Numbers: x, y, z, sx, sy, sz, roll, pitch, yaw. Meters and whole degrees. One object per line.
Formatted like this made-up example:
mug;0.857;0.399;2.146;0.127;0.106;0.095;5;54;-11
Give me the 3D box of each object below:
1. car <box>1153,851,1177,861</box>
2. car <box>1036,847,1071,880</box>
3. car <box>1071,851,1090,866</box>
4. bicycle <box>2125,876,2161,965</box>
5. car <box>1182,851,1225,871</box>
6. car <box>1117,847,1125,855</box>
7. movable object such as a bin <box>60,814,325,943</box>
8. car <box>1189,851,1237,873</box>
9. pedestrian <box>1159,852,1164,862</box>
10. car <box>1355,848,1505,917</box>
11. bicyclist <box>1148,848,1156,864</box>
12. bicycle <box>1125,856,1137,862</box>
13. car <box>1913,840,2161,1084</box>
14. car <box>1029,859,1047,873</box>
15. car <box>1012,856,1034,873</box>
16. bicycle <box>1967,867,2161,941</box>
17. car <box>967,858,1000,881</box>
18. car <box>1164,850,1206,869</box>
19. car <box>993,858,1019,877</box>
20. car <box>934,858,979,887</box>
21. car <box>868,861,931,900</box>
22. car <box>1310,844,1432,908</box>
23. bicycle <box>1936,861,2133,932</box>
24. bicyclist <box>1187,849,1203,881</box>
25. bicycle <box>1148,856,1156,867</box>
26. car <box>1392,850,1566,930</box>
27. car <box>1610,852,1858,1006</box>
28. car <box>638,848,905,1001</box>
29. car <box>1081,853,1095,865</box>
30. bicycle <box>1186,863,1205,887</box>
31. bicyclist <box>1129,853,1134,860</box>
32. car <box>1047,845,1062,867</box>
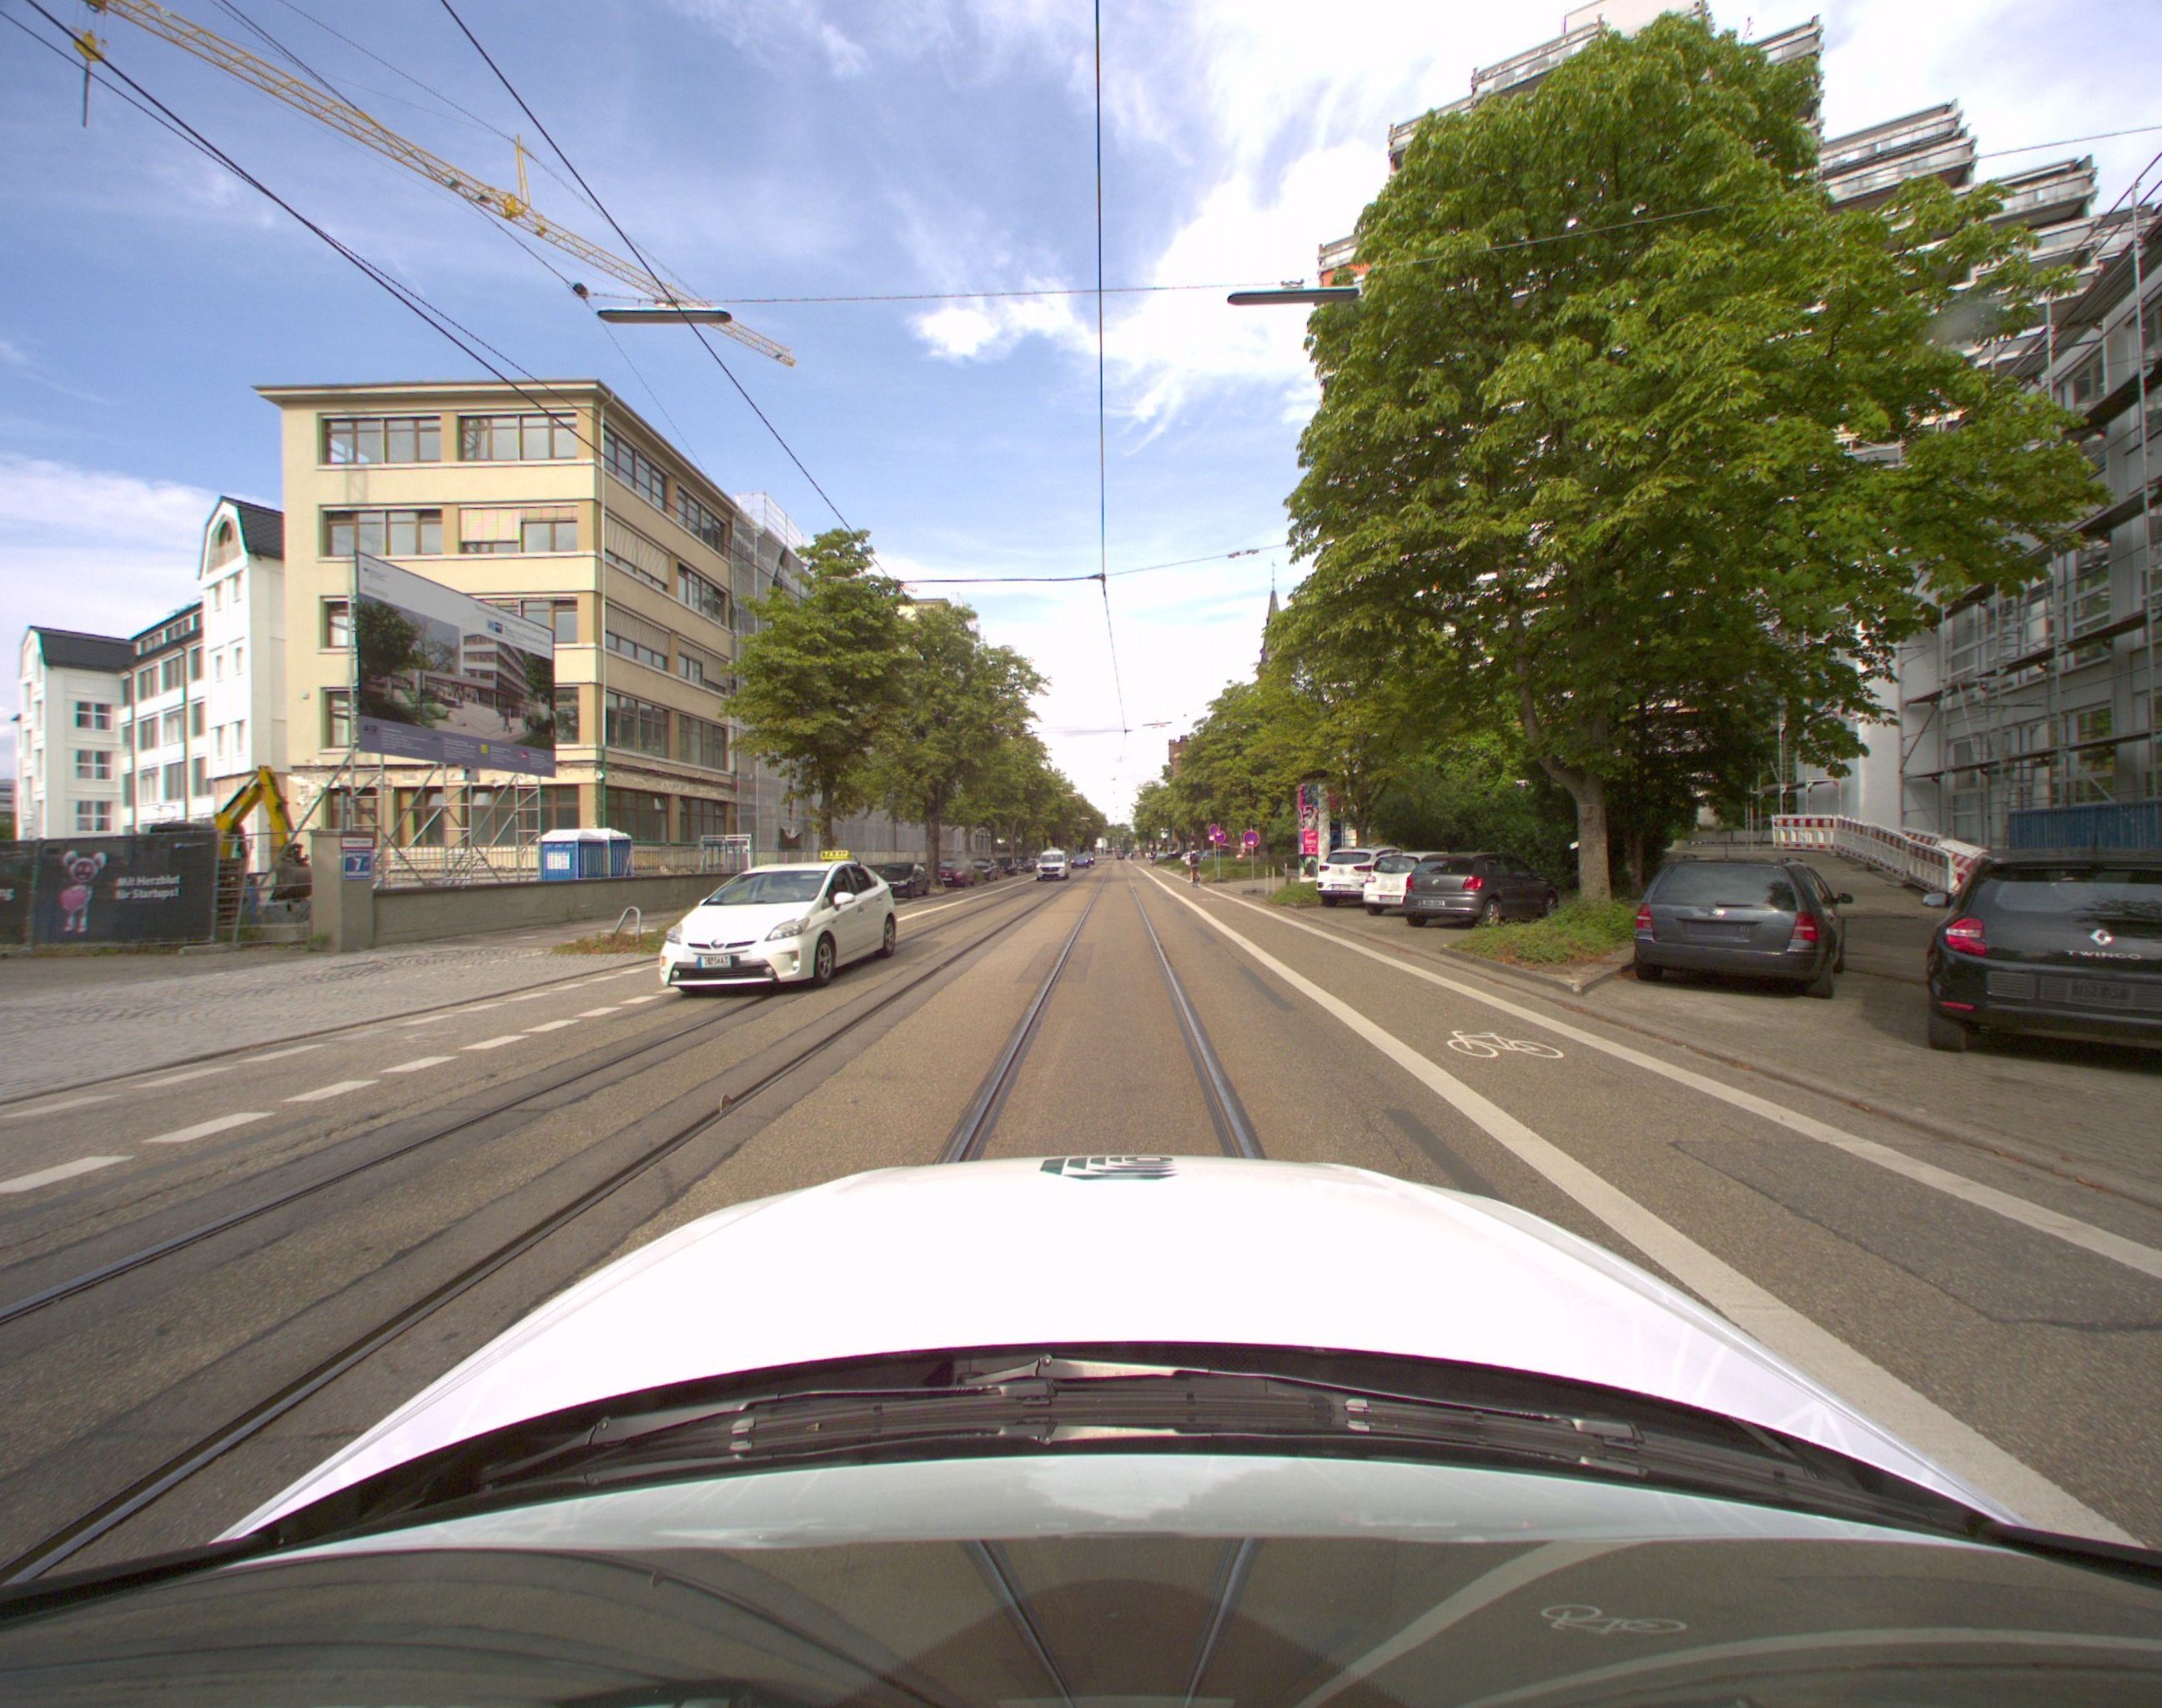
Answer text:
car;14.859;0.390;144.623;3.978;1.693;1.998;-1;0;-3
car;-1.611;0.554;48.778;1.725;1.884;4.381;-1;0;2
car;0.009;0.455;84.280;1.725;1.496;4.381;-1;0;2
bicycle;13.616;0.776;9.424;1.817;1.043;0.456;-2;-1;31
car;10.318;0.595;68.309;3.667;1.602;1.661;0;-1;-43
car;8.886;-0.616;181.152;1.788;1.824;4.680;0;0;2
movable object such as a bin;-18.351;0.496;16.959;3.030;2.443;2.506;-1;-1;12
car;9.998;0.595;61.513;3.667;1.602;1.661;0;-1;-43
pedestrian;14.362;0.606;144.485;0.742;1.790;0.734;-1;-1;17
car;8.296;0.625;19.263;3.663;1.474;1.663;0;-1;-37
bicyclist;6.957;0.209;79.822;0.656;1.496;0.930;-1;0;3
bicycle;10.320;0.998;167.748;2.260;1.189;0.771;0;0;10
car;7.889;0.668;6.489;3.436;1.537;1.577;-1;0;-41
car;-4.375;1.194;83.222;1.585;1.402;3.962;0;0;0
car;-5.174;0.925;73.017;1.585;1.402;3.962;0;0;0
bicycle;14.752;0.717;12.161;1.952;1.043;0.598;-1;0;30
car;-6.235;0.953;52.416;1.585;1.402;3.962;0;0;0
car;9.007;0.508;70.491;3.667;1.602;1.661;0;-1;-43
car;-5.779;0.995;62.724;1.585;1.402;3.962;0;0;0
car;-6.551;0.945;43.216;1.629;1.496;3.964;0;0;2
car;-7.171;1.020;32.564;1.585;1.402;3.962;0;0;0
car;8.052;0.563;22.488;3.667;1.602;1.661;0;-1;-43
bicycle;15.117;0.646;12.996;1.952;1.043;0.598;0;0;39
bicyclist;5.218;0.500;37.188;0.591;1.459;0.875;-1;0;0
bicycle;6.958;0.773;79.816;0.661;1.043;1.842;-1;0;3
car;8.026;0.641;16.340;3.663;1.419;1.663;0;-1;-37
car;7.884;0.704;9.677;4.194;1.415;1.794;0;-1;-45
car;-3.805;0.755;10.933;1.725;1.612;4.337;-1;0;2
car;0.940;0.656;109.331;1.726;1.628;4.380;-2;0;2
bicycle;5.217;0.951;37.042;0.591;1.043;1.978;-1;0;0
bicyclist;10.362;0.458;167.745;0.841;1.504;0.771;-1;0;9
car;-3.395;0.247;106.778;1.715;2.704;5.470;0;0;0
